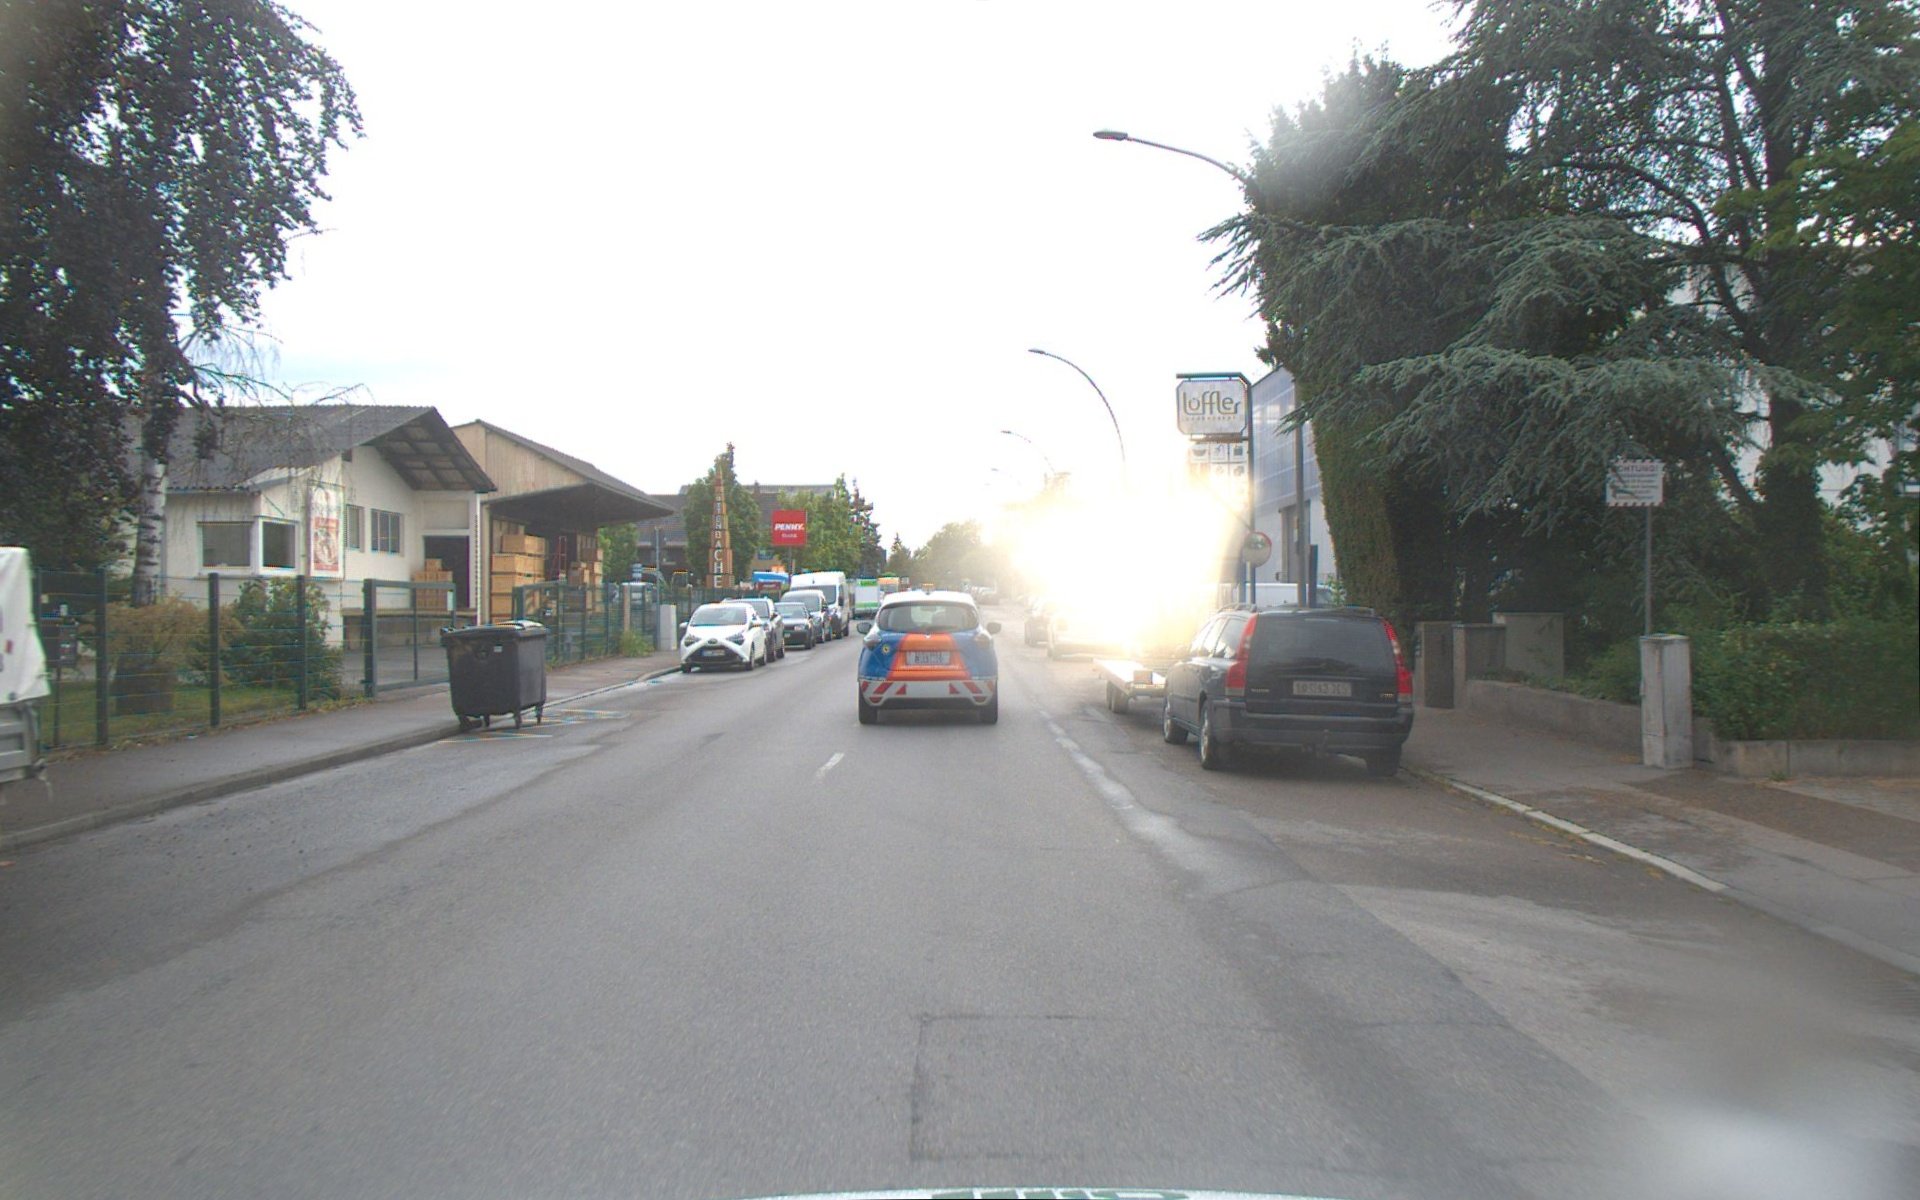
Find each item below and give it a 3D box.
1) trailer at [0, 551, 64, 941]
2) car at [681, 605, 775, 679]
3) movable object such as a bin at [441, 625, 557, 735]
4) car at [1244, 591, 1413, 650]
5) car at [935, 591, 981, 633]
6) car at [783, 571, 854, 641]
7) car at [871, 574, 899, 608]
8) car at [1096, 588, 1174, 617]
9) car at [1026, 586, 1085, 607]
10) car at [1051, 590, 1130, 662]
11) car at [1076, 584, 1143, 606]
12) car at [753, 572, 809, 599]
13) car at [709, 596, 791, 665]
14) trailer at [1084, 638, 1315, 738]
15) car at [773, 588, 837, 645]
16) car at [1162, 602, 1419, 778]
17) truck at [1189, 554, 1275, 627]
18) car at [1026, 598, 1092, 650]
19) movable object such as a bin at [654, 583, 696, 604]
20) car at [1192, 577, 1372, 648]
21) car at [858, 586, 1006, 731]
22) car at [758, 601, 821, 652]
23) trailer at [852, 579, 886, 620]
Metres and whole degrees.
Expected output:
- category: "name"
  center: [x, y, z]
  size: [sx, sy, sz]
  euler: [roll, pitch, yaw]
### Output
- category: "trailer"
  center: [-5.366, 0.680, 5.874]
  size: [1.890, 1.796, 4.548]
  euler: [0, 0, 0]
- category: "car"
  center: [-5.243, 0.927, 37.758]
  size: [1.583, 1.535, 3.660]
  euler: [-2, 0, 0]
- category: "movable object such as a bin"
  center: [-5.863, 1.000, 21.139]
  size: [1.078, 1.333, 1.425]
  euler: [1, 0, -1]
- category: "car"
  center: [9.697, 0.523, 43.713]
  size: [4.019, 1.482, 2.000]
  euler: [1, 0, 0]
- category: "car"
  center: [-0.090, 0.435, 63.250]
  size: [1.617, 1.548, 3.998]
  euler: [1, 0, -2]
- category: "car"
  center: [-5.414, 0.205, 64.074]
  size: [2.114, 2.469, 6.459]
  euler: [-3, 0, 0]
- category: "car"
  center: [-5.947, -0.749, 131.542]
  size: [2.082, 2.582, 6.020]
  euler: [-2, 1, -2]
- category: "car"
  center: [9.198, 0.121, 87.107]
  size: [3.906, 1.455, 1.630]
  euler: [0, 0, -2]
- category: "car"
  center: [7.134, -0.252, 123.499]
  size: [4.250, 1.501, 1.902]
  euler: [0, 0, -1]
- category: "car"
  center: [3.149, 0.601, 40.688]
  size: [1.703, 1.650, 4.374]
  euler: [1, 0, 1]
- category: "car"
  center: [10.158, -0.334, 112.574]
  size: [4.326, 1.417, 1.879]
  euler: [1, 0, -2]
- category: "car"
  center: [-14.335, -1.138, 132.430]
  size: [4.218, 2.049, 2.062]
  euler: [1, 0, 0]
- category: "car"
  center: [-5.372, 0.750, 42.686]
  size: [1.627, 1.612, 3.915]
  euler: [-2, 0, -1]
- category: "trailer"
  center: [3.030, 1.100, 22.481]
  size: [2.129, 0.913, 6.636]
  euler: [1, 1, 0]
- category: "car"
  center: [-5.421, 0.573, 58.282]
  size: [1.734, 1.799, 4.446]
  euler: [-4, 0, 0]
- category: "car"
  center: [3.058, 0.758, 16.237]
  size: [1.704, 1.458, 4.649]
  euler: [1, 0, 1]
- category: "truck"
  center: [14.936, -0.521, 91.049]
  size: [4.061, 3.737, 2.718]
  euler: [3, 0, -3]
- category: "car"
  center: [2.981, 0.708, 50.513]
  size: [1.703, 1.492, 4.545]
  euler: [1, 0, 0]
- category: "movable object such as a bin"
  center: [-24.360, -0.540, 141.462]
  size: [3.356, 1.790, 1.997]
  euler: [1, 0, -7]
- category: "car"
  center: [8.954, 0.343, 46.214]
  size: [4.635, 1.919, 2.000]
  euler: [1, 0, 0]
- category: "car"
  center: [-0.353, 0.672, 20.899]
  size: [1.696, 1.659, 3.494]
  euler: [-1, 0, -1]
- category: "car"
  center: [-5.293, 0.789, 51.842]
  size: [1.628, 1.473, 4.316]
  euler: [-2, 0, -2]
- category: "trailer"
  center: [-5.551, -0.058, 101.480]
  size: [1.776, 2.354, 4.729]
  euler: [-3, 1, -1]
